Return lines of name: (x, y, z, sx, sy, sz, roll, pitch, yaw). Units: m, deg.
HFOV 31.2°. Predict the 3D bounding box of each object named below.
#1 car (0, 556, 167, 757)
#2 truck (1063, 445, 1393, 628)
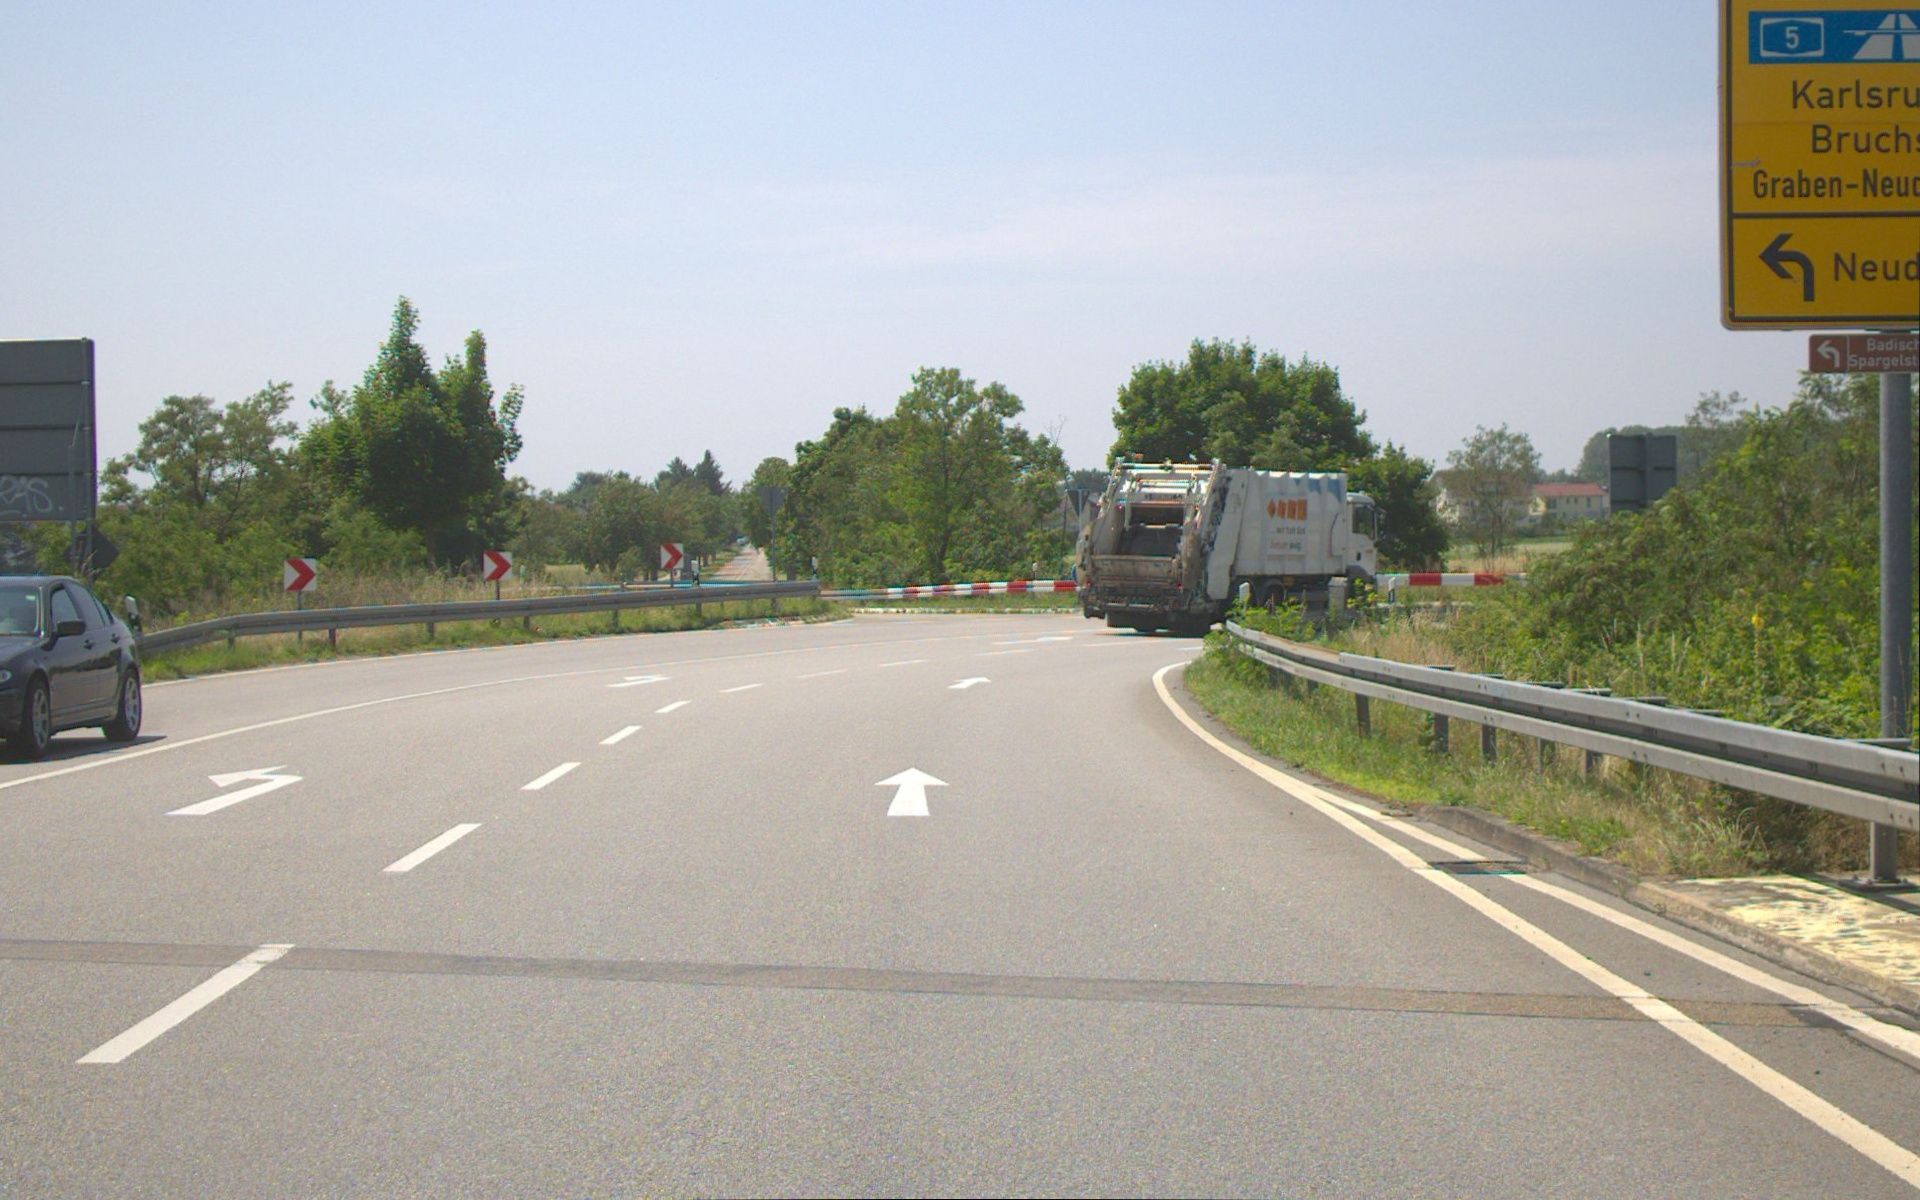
car: (-7.746, 0.414, 27.266, 1.734, 1.396, 4.381, -2, 2, 2)
truck: (5.908, -1.305, 73.597, 2.818, 3.657, 9.930, 1, 1, 31)
